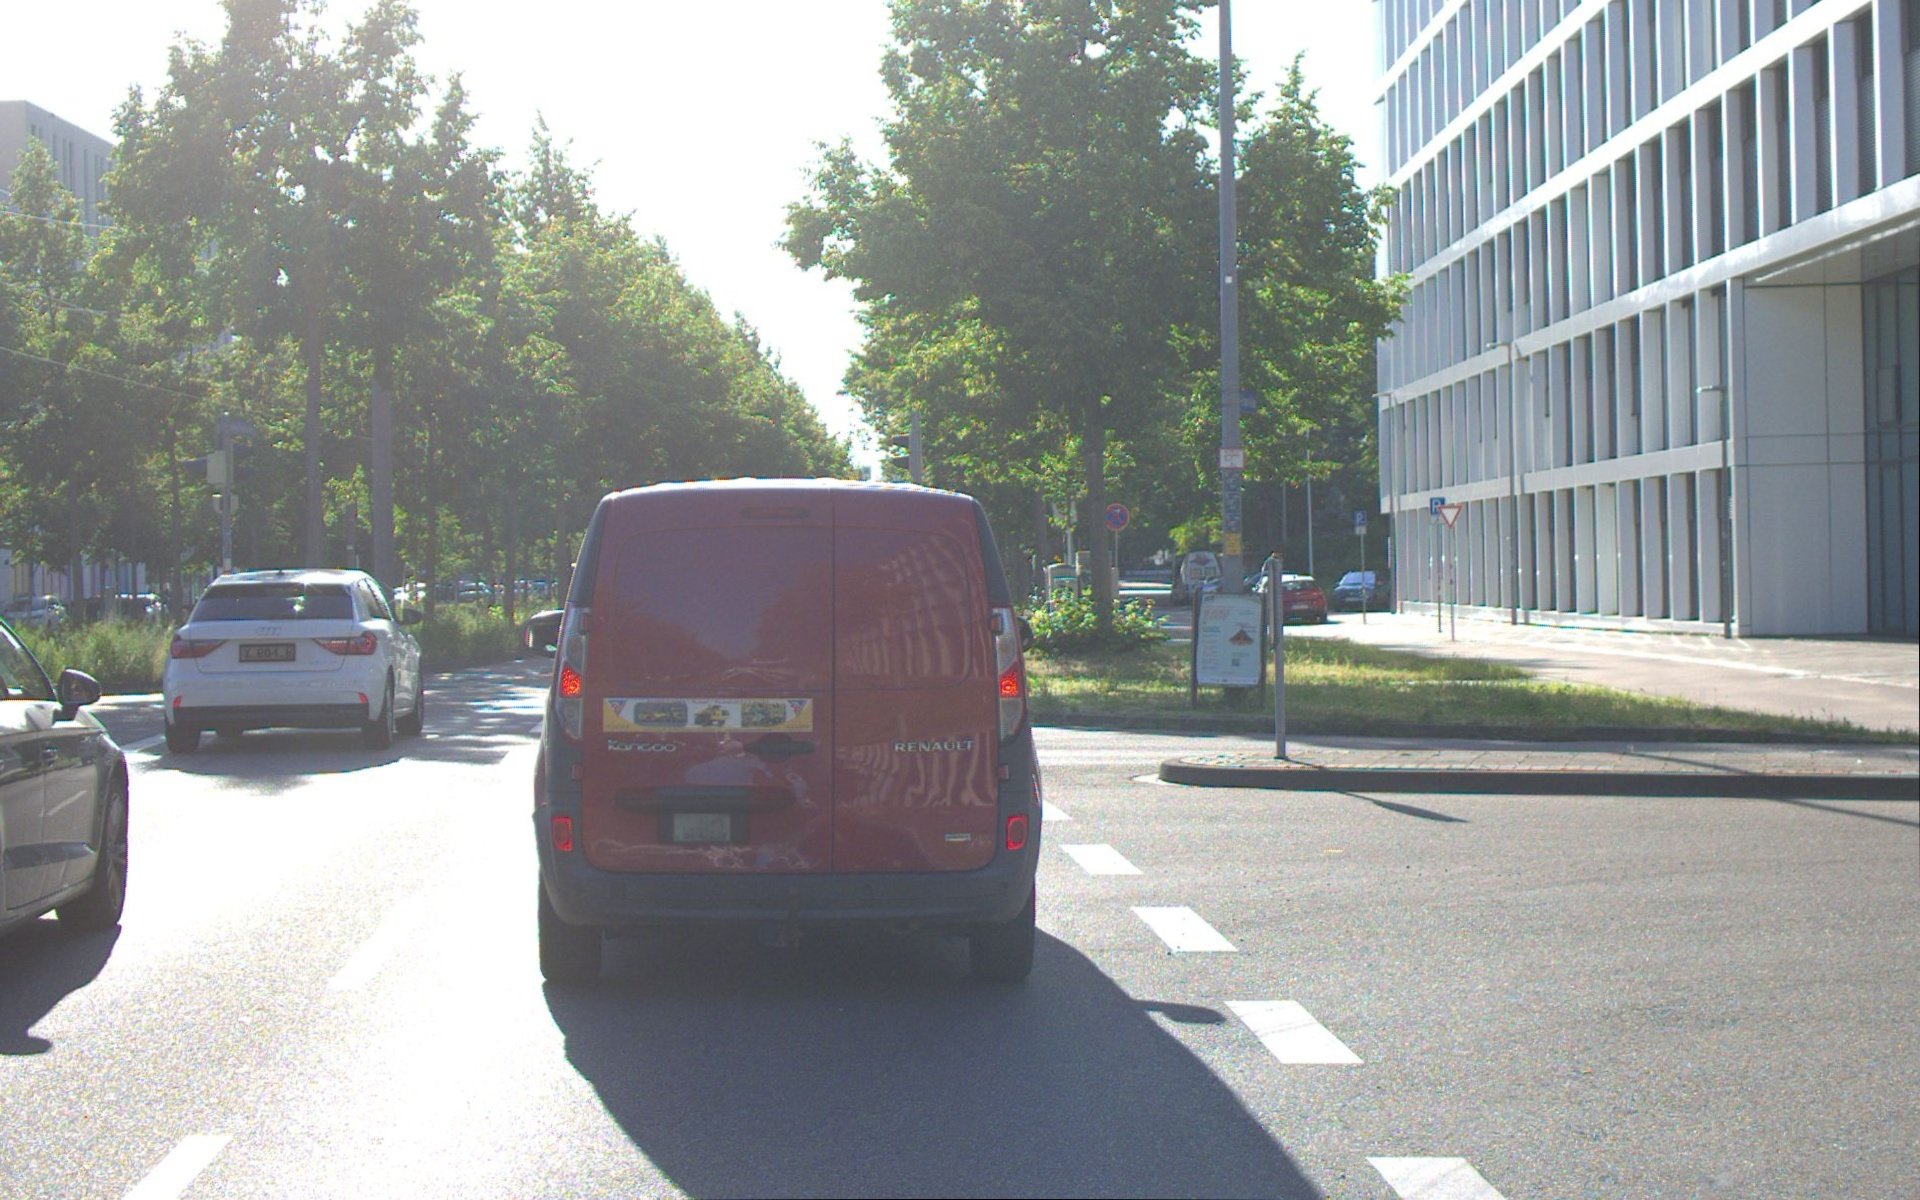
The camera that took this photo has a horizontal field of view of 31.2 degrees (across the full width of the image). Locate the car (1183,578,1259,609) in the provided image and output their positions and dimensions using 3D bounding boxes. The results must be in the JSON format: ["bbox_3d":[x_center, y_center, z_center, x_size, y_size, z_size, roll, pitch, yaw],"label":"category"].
[{"bbox_3d":[11.948,-0.292,157.411,3.399,1.354,1.470,-1,0,7],"label":"car"}]

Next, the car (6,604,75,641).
[{"bbox_3d":[-34.465,0.825,128.910,1.580,1.338,3.712,-1,0,0],"label":"car"}]

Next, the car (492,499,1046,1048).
[{"bbox_3d":[-0.676,0.555,13.467,1.808,1.788,4.113,-1,1,-1],"label":"car"}]

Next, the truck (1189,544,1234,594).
[{"bbox_3d":[12.974,-1.576,177.503,1.831,2.492,5.933,-1,0,0],"label":"truck"}]

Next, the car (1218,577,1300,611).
[{"bbox_3d":[12.692,-0.261,145.711,3.399,1.354,1.470,-1,0,7],"label":"car"}]

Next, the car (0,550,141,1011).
[{"bbox_3d":[-4.143,0.604,12.099,1.808,1.522,4.113,-1,1,-4],"label":"car"}]

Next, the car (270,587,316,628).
[{"bbox_3d":[-34.538,0.388,178.099,1.728,2.007,4.000,-1,1,-2],"label":"car"}]

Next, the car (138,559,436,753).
[{"bbox_3d":[-5.376,0.400,27.930,1.808,1.430,4.113,-1,1,-3],"label":"car"}]

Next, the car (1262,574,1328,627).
[{"bbox_3d":[10.372,0.000,106.656,1.758,1.606,3.903,-1,0,2],"label":"car"}]
